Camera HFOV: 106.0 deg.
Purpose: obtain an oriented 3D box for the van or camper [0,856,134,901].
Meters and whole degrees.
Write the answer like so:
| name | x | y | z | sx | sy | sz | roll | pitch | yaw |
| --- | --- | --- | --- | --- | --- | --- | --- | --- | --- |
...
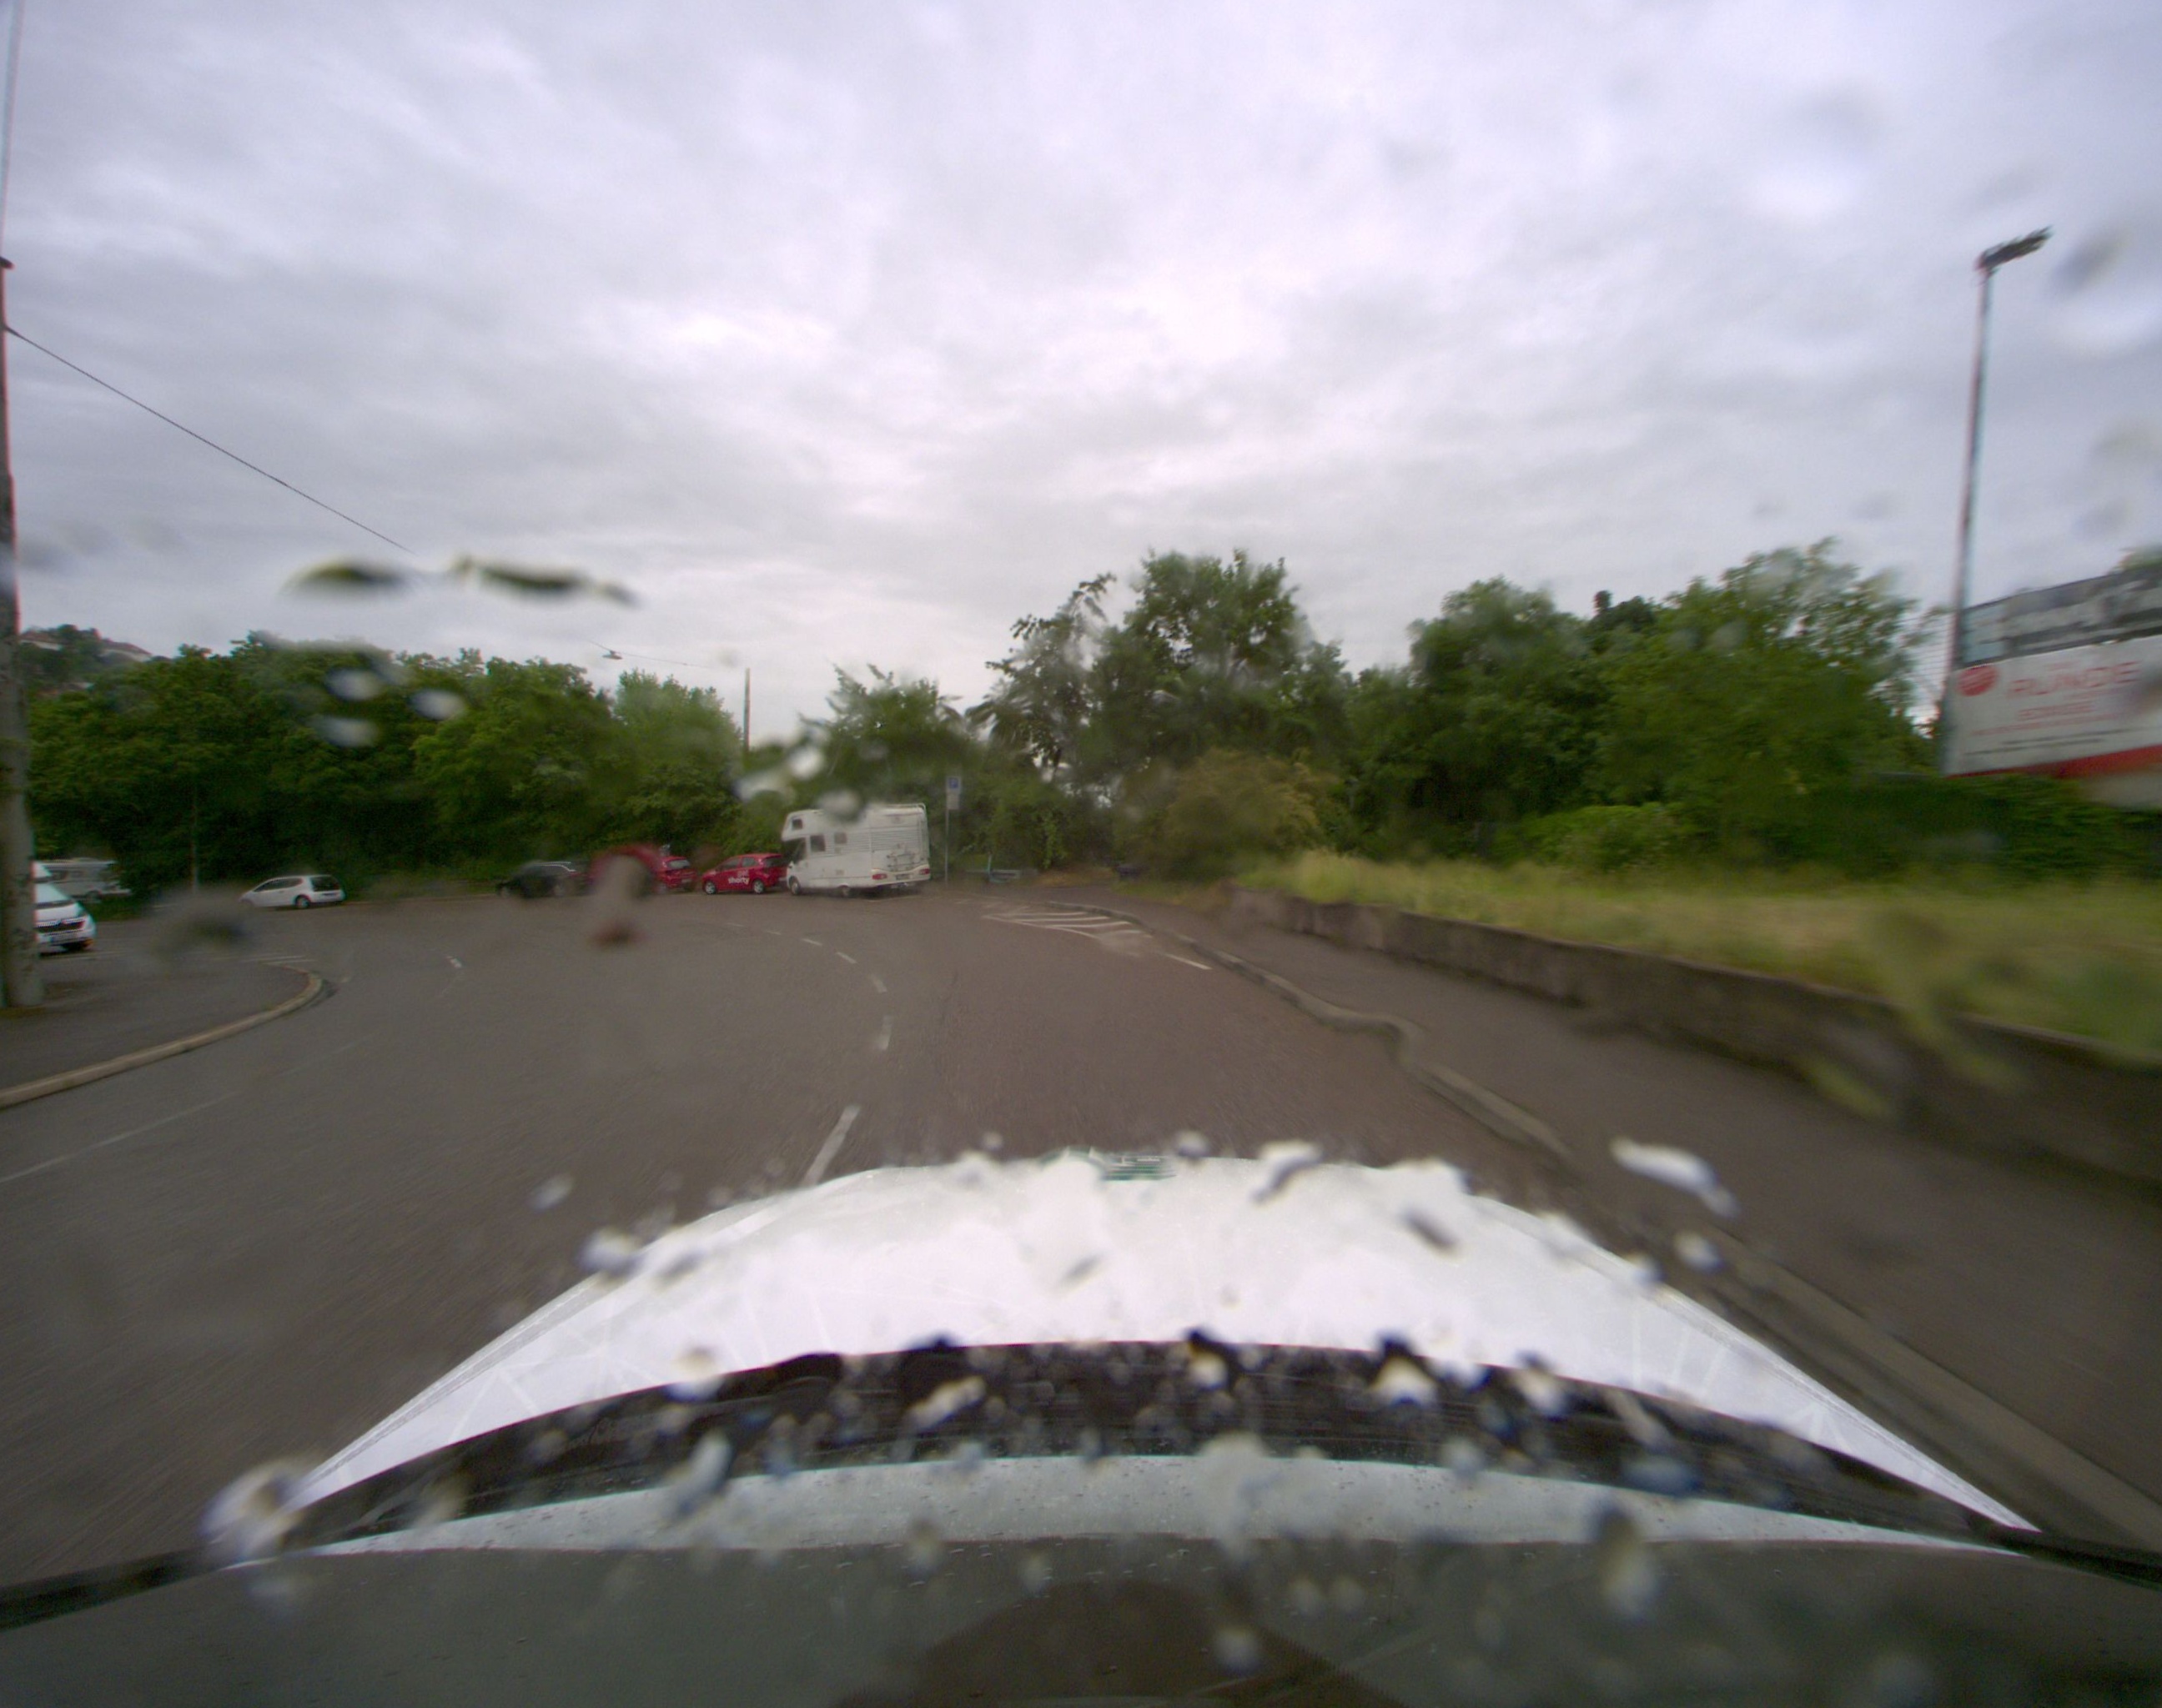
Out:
| name | x | y | z | sx | sy | sz | roll | pitch | yaw |
| --- | --- | --- | --- | --- | --- | --- | --- | --- | --- |
| van or camper | -73.846 | 1.673 | 58.440 | 2.183 | 2.932 | 7.676 | 3 | 0 | 7 |

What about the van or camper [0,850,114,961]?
| name | x | y | z | sx | sy | sz | roll | pitch | yaw |
| --- | --- | --- | --- | --- | --- | --- | --- | --- | --- |
| van or camper | -31.541 | 1.453 | 22.445 | 7.001 | 2.787 | 2.164 | -2 | 4 | 1 |

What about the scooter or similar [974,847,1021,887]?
| name | x | y | z | sx | sy | sz | roll | pitch | yaw |
| --- | --- | --- | --- | --- | --- | --- | --- | --- | --- |
| scooter or similar | -2.772 | 0.446 | 26.829 | 1.687 | 1.282 | 0.454 | -2 | 0 | 41 |

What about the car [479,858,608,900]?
| name | x | y | z | sx | sy | sz | roll | pitch | yaw |
| --- | --- | --- | --- | --- | --- | --- | --- | --- | --- |
| car | -22.685 | 1.056 | 34.445 | 4.549 | 1.513 | 1.730 | -2 | 3 | 12 |

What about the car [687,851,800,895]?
| name | x | y | z | sx | sy | sz | roll | pitch | yaw |
| --- | --- | --- | --- | --- | --- | --- | --- | --- | --- |
| car | -12.945 | 0.728 | 31.267 | 3.762 | 1.460 | 1.655 | -2 | 4 | 20 |

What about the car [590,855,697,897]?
| name | x | y | z | sx | sy | sz | roll | pitch | yaw |
| --- | --- | --- | --- | --- | --- | --- | --- | --- | --- |
| car | -17.685 | 0.881 | 32.981 | 3.636 | 1.513 | 1.570 | -1 | 3 | 15 |

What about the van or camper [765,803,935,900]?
| name | x | y | z | sx | sy | sz | roll | pitch | yaw |
| --- | --- | --- | --- | --- | --- | --- | --- | --- | --- |
| van or camper | -8.072 | -0.115 | 28.112 | 6.200 | 2.943 | 2.413 | -1 | 4 | 40 |

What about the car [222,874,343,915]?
| name | x | y | z | sx | sy | sz | roll | pitch | yaw |
| --- | --- | --- | --- | --- | --- | --- | --- | --- | --- |
| car | -34.997 | 1.742 | 35.752 | 3.643 | 1.501 | 1.590 | -3 | 1 | 0 |
